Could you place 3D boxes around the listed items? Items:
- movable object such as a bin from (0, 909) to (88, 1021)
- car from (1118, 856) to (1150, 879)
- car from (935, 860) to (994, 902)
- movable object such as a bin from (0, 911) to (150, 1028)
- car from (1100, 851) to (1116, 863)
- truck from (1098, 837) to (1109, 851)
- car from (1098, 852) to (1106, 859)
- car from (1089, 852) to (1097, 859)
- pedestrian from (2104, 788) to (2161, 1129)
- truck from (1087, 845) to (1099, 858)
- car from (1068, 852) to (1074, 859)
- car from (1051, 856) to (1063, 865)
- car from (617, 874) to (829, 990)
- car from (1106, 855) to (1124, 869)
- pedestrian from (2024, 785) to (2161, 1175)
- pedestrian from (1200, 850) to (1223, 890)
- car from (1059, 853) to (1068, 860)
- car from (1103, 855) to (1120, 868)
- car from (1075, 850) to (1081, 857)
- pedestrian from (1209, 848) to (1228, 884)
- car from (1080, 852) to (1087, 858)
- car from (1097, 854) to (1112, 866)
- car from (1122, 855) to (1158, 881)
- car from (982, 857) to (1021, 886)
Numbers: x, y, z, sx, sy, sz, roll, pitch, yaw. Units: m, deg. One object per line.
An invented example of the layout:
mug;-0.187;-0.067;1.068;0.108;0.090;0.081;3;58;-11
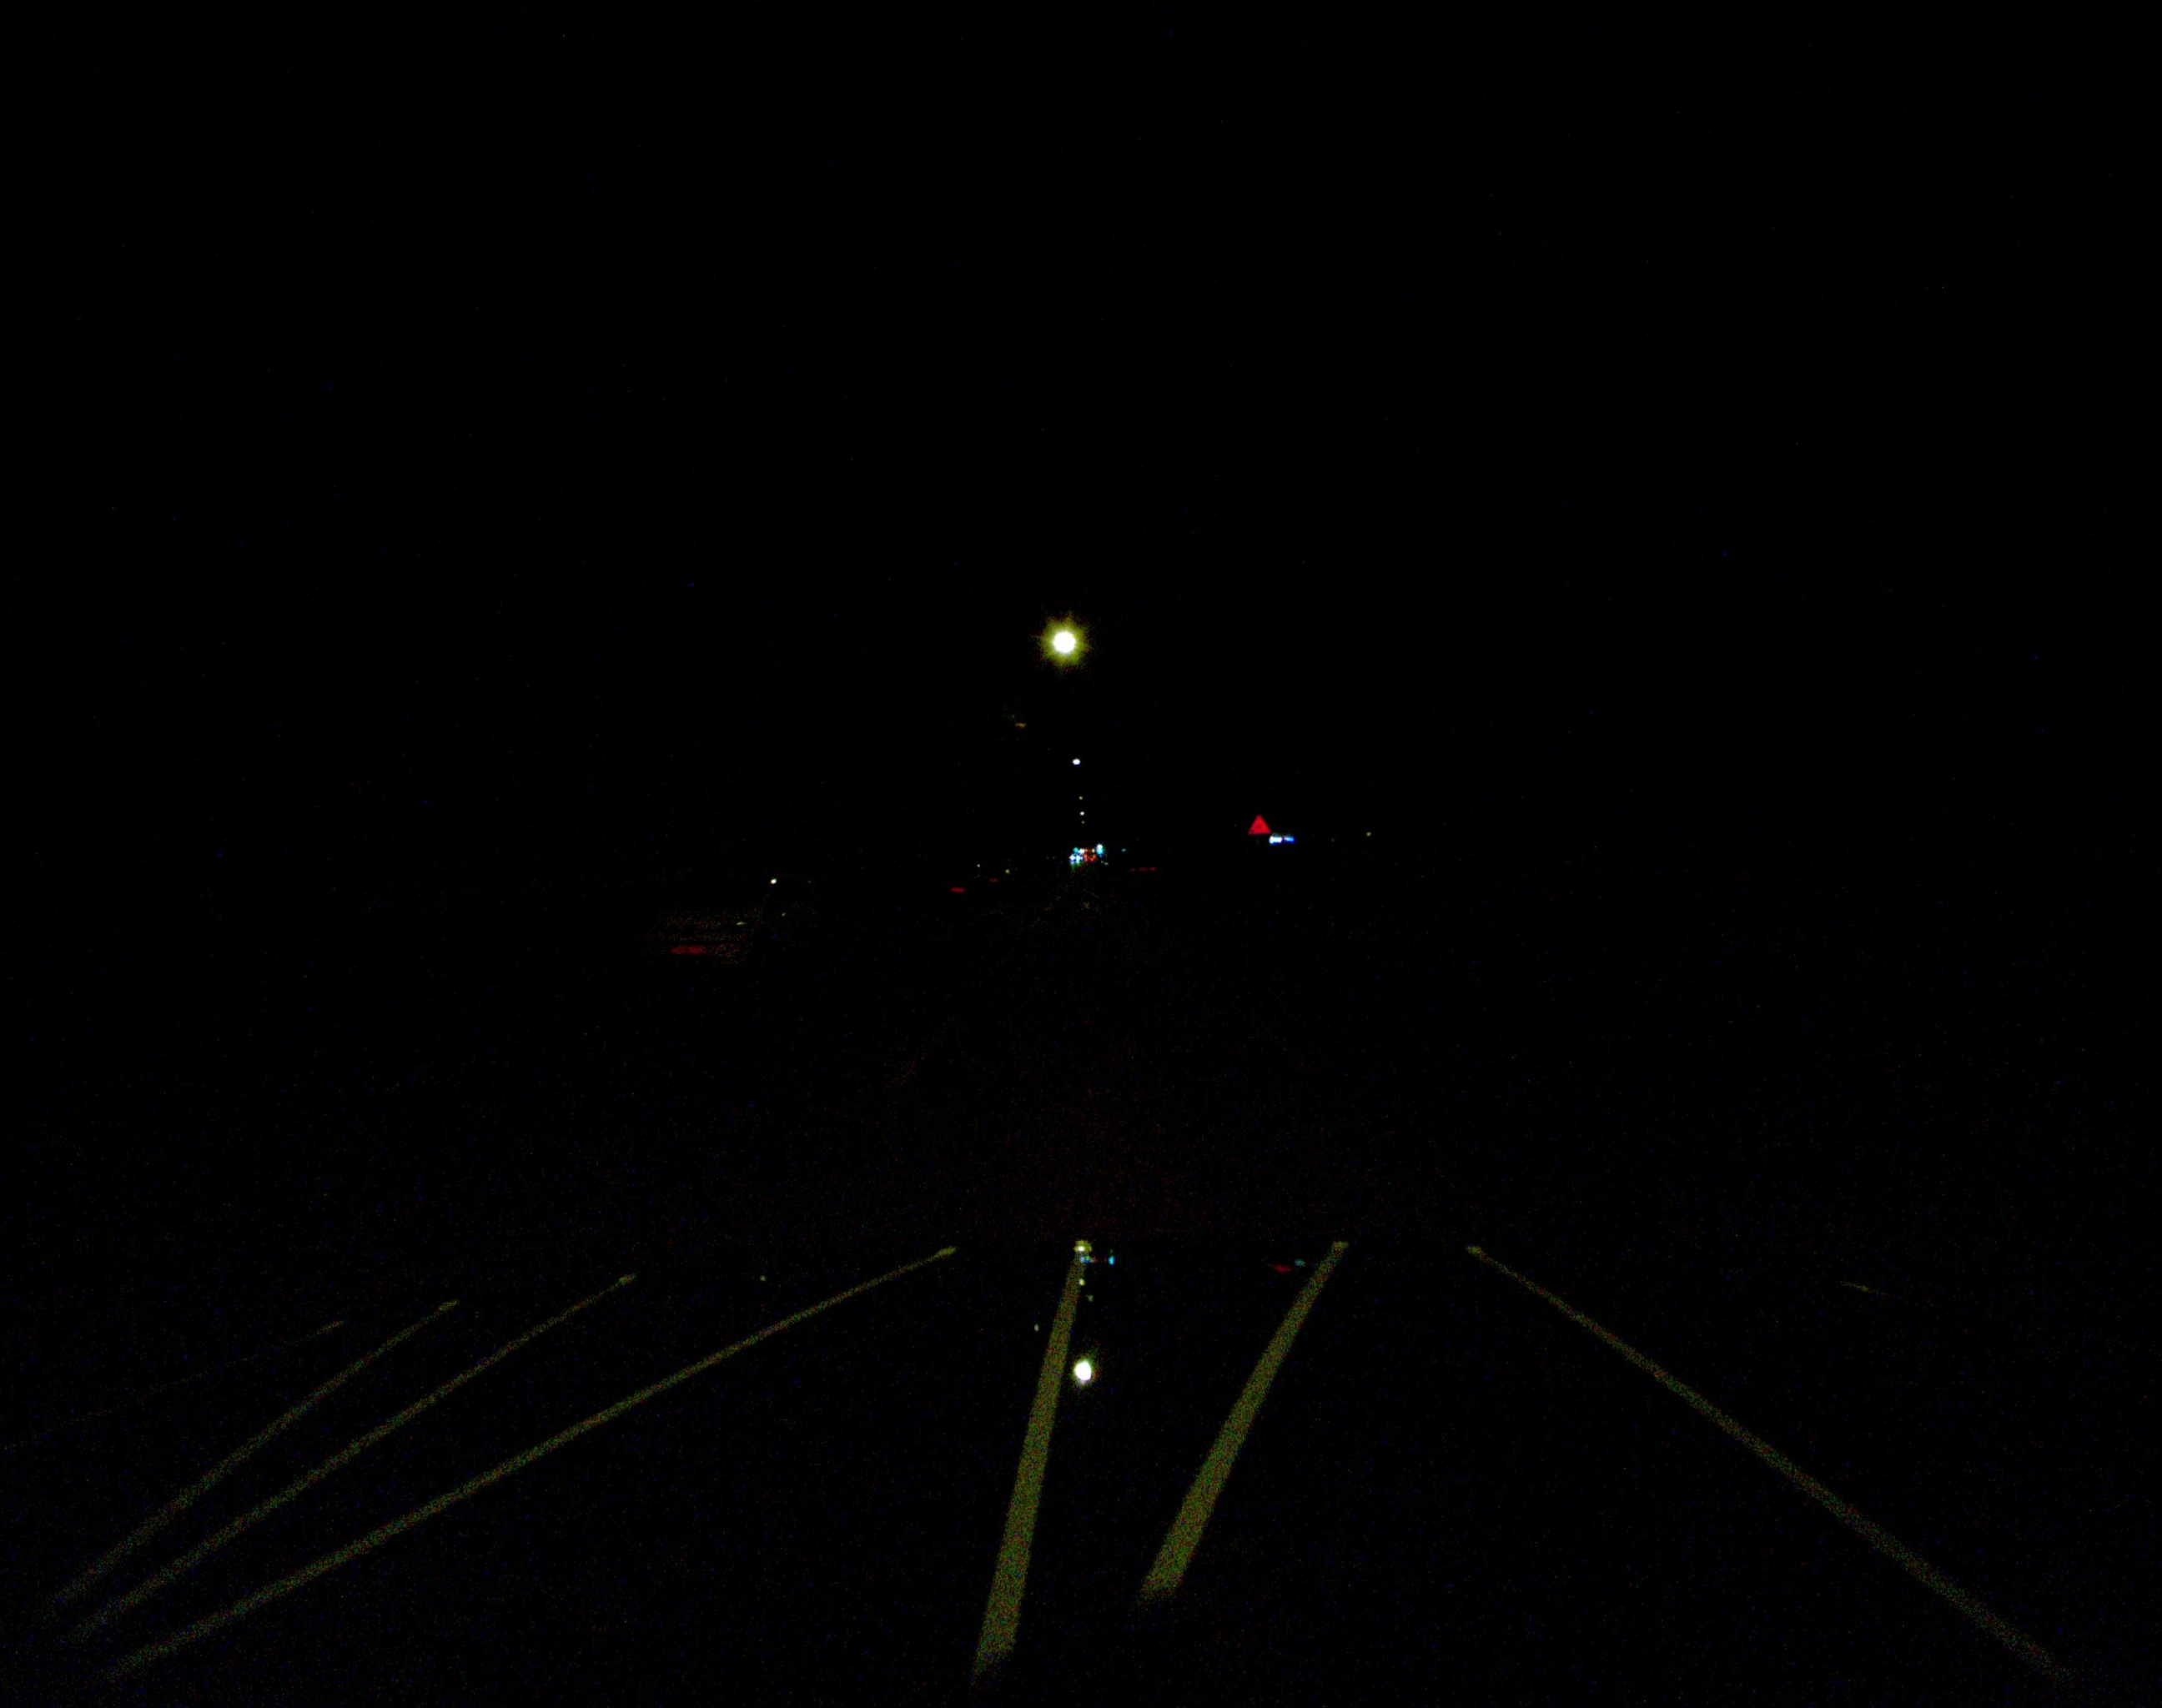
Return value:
movable object such as a bin;-10.917;1.123;7.721;0.609;1.042;0.755;-2;0;1
car;3.756;0.919;54.529;1.864;1.458;3.897;-4;0;-1
car;-4.683;1.051;31.024;1.865;1.544;4.044;0;0;-2
movable object such as a bin;-10.125;1.130;7.612;0.609;1.042;0.755;-2;0;1
car;3.795;0.411;107.044;1.874;1.635;3.999;-2;0;-3
truck;4.548;-2.009;152.371;2.084;2.562;6.874;-2;0;1
car;4.850;0.275;177.257;1.873;1.551;4.353;-2;0;1
car;2.850;0.297;183.829;1.873;1.635;4.000;-2;0;1
pedestrian;5.861;0.526;3.521;0.744;1.735;1.103;-2;1;-1
truck;3.262;-0.591;206.756;3.222;3.359;8.851;-2;0;1
car;-2.802;0.411;215.963;1.793;1.829;3.845;-2;0;-1
car;-3.902;1.102;124.781;1.874;1.407;4.000;-2;0;-1
car;-5.413;1.102;12.038;1.672;1.476;3.603;0;0;0
car;4.325;1.037;97.672;1.874;1.635;3.999;-2;0;-3
pedestrian;5.122;0.552;3.335;0.677;1.735;1.028;-2;1;-1
pedestrian;5.581;0.677;32.586;0.744;1.662;1.103;-2;1;-1
car;-3.732;0.543;160.922;1.874;1.407;4.000;-2;0;-1
car;4.085;1.008;102.109;1.874;1.635;3.999;-2;0;-3
car;-0.822;-0.125;210.292;1.775;1.672;3.814;-2;0;0
pedestrian;6.655;0.559;36.716;0.670;1.716;0.866;-2;0;-2
car;0.768;0.311;227.692;1.874;1.635;4.000;-2;0;-1
car;3.608;0.919;116.880;1.874;1.635;3.999;-2;0;-3
car;3.788;0.871;49.346;1.864;1.523;4.587;-4;0;-1
car;-4.627;0.982;44.531;1.742;1.588;4.359;0;0;1
